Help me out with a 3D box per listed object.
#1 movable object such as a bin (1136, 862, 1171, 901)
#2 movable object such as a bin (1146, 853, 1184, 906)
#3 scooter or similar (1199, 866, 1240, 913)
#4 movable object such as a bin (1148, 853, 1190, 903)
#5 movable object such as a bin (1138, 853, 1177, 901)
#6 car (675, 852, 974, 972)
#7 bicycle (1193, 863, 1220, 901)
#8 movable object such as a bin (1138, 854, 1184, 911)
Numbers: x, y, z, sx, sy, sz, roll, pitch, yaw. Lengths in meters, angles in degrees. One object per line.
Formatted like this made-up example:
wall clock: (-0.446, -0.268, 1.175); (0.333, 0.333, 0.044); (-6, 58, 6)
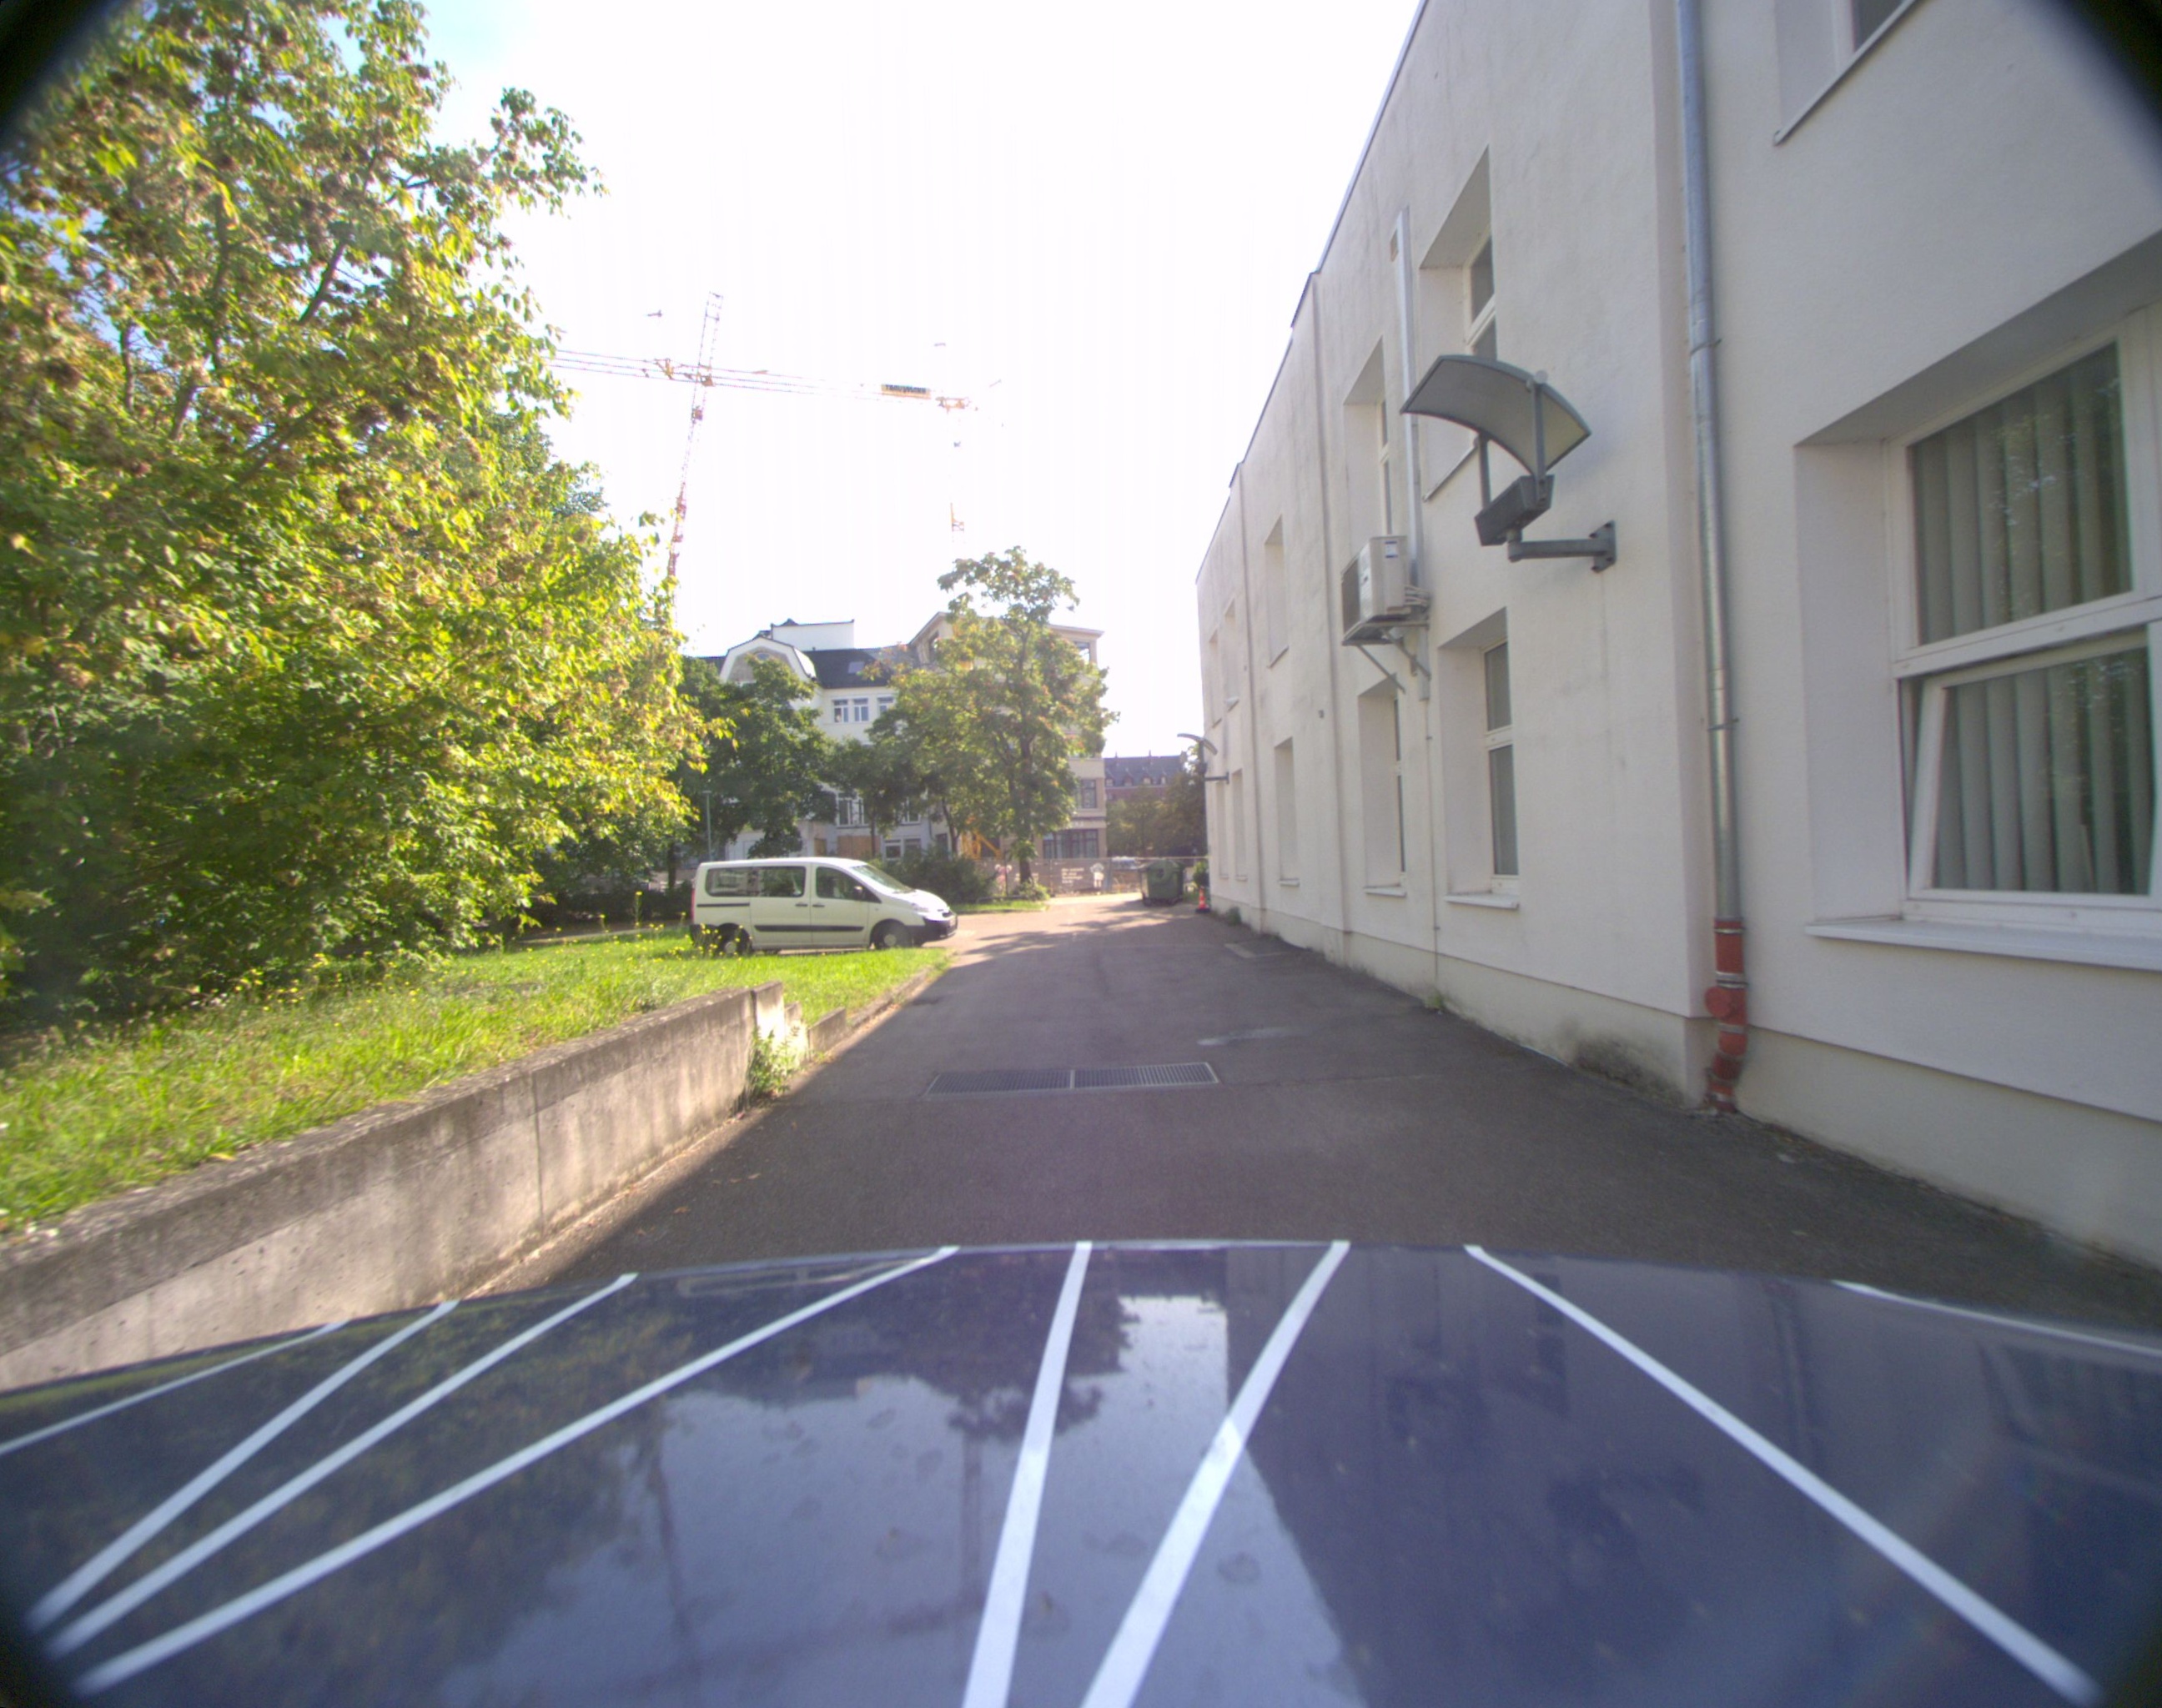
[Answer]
movable object such as a bin: (2.853, 1.072, 30.089); (1.037, 1.489, 1.106); (-3, 0, -11)
movable object such as a bin: (2.847, 0.850, 25.883); (1.183, 1.695, 1.395); (-3, 0, 4)
scooter or similar: (3.868, 0.968, 21.331); (0.386, 1.255, 1.493); (-3, 0, -19)
movable object such as a bin: (3.141, 0.837, 27.289); (1.184, 1.695, 1.377); (-3, 0, -3)
movable object such as a bin: (2.886, 0.850, 28.689); (1.184, 1.695, 1.377); (-3, 0, -3)
car: (-4.795, 1.051, 14.744); (4.969, 1.909, 2.044); (-3, 1, 2)
bicycle: (4.220, 0.913, 25.596); (0.477, 1.206, 2.008); (-3, 0, -1)
movable object such as a bin: (2.514, 0.865, 24.085); (1.184, 1.695, 1.377); (-3, 0, -3)
